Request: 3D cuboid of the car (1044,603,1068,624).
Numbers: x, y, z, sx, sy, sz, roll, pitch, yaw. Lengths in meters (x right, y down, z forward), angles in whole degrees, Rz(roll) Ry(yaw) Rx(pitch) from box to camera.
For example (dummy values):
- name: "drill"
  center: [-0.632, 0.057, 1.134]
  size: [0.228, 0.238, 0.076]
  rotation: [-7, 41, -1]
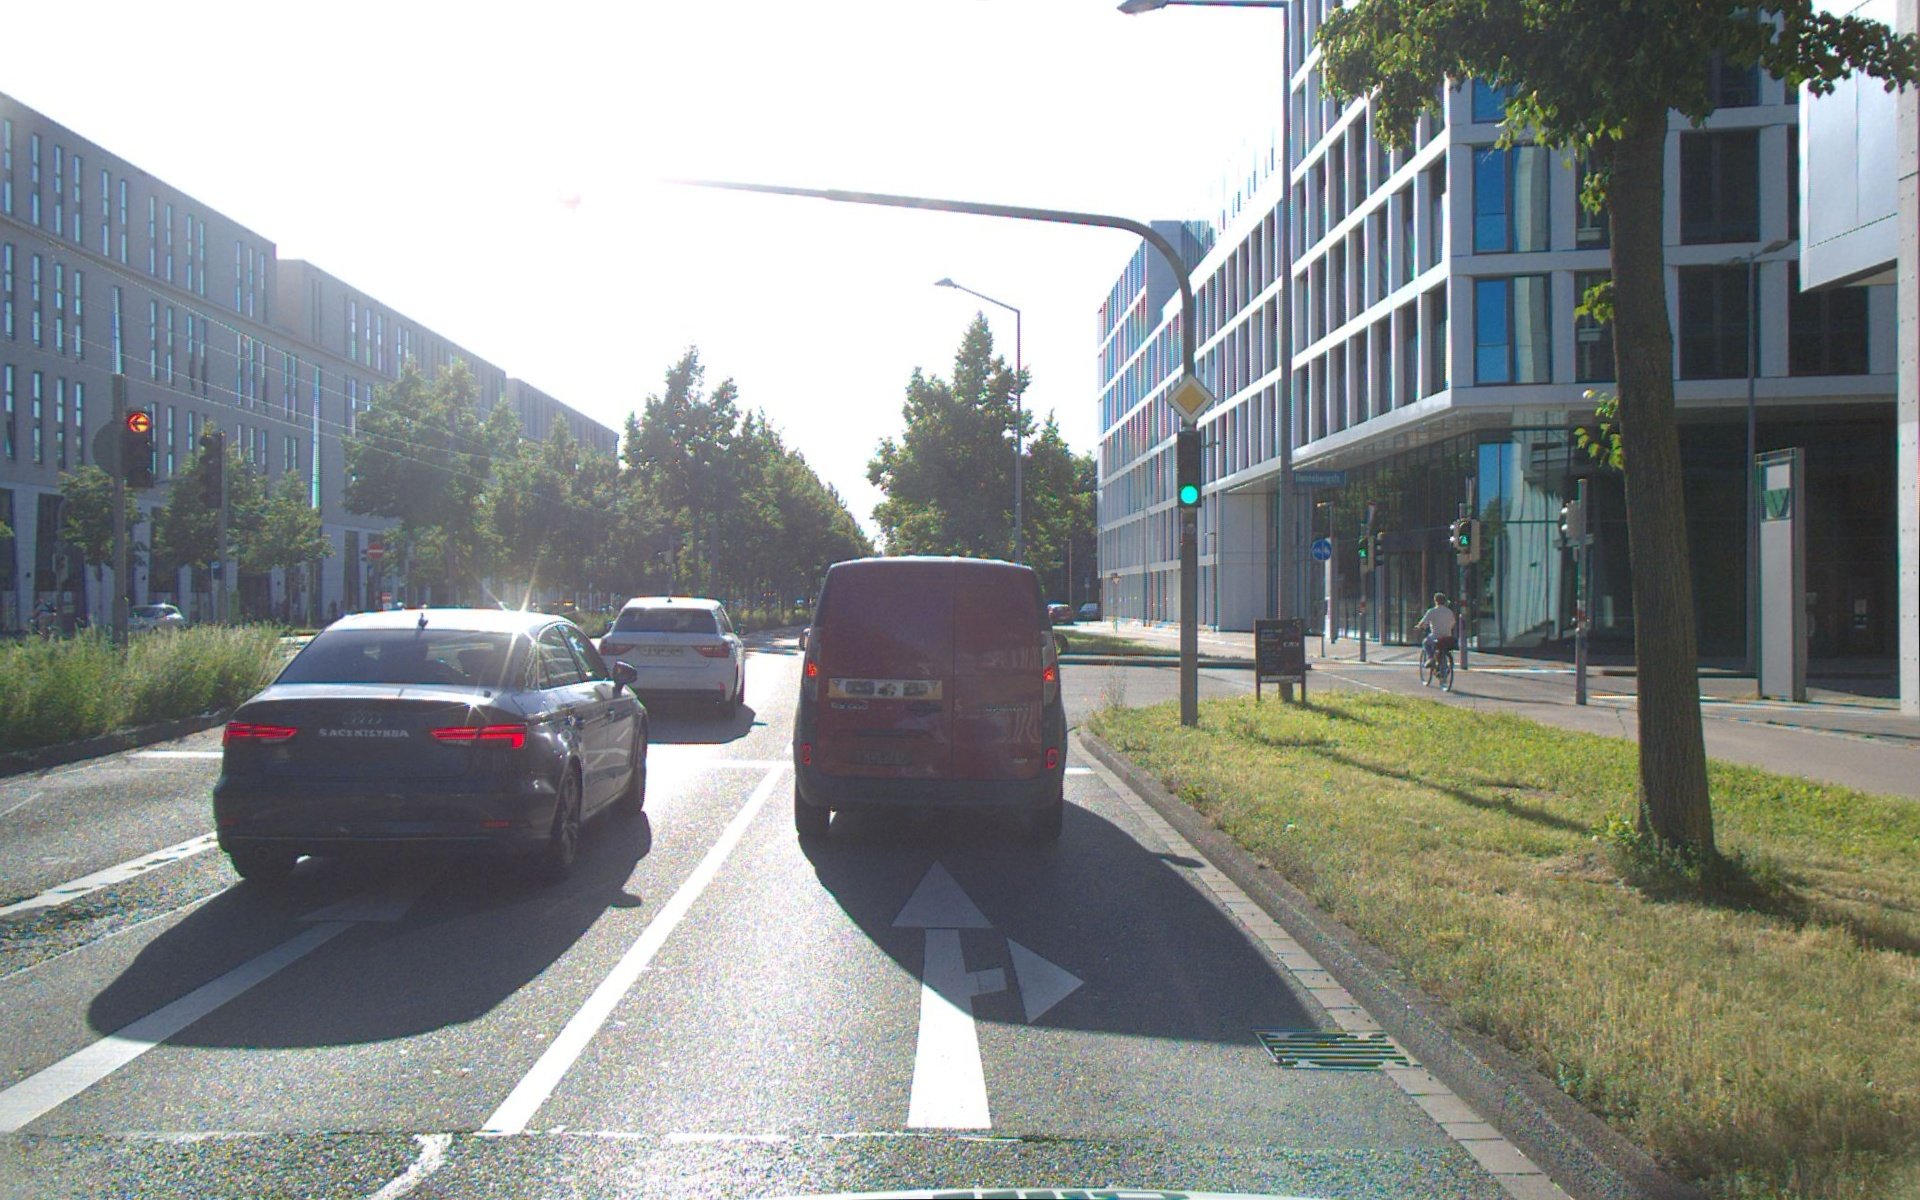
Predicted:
- name: "car"
  center: [7.361, 1.053, 127.599]
  size: [1.781, 1.559, 3.438]
  rotation: [0, 0, 2]

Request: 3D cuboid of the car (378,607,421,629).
- name: "car"
  center: [-35.467, 1.121, 104.745]
  size: [1.548, 1.366, 3.710]
  rotation: [0, 0, -2]

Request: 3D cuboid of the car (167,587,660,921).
- name: "car"
  center: [-2.934, 0.716, 9.835]
  size: [1.772, 1.554, 4.110]
  rotation: [0, 0, -3]

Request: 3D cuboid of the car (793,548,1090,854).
- name: "car"
  center: [-0.128, 0.599, 11.945]
  size: [1.771, 1.826, 4.112]
  rotation: [0, 0, -1]

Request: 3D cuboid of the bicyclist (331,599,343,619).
- name: "bicyclist"
  center: [-40.869, 0.615, 108.562]
  size: [0.567, 1.316, 0.704]
  rotation: [1, -1, -8]

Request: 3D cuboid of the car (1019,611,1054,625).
- name: "car"
  center: [7.419, 1.728, 160.587]
  size: [3.327, 1.382, 1.472]
  rotation: [0, 0, 5]

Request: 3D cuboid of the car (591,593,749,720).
- name: "car"
  center: [-3.616, 0.650, 21.196]
  size: [1.774, 1.460, 4.106]
  rotation: [0, 0, -7]

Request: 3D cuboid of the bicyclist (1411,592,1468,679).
- name: "bicyclist"
  center: [8.776, 0.636, 30.293]
  size: [0.756, 1.558, 0.849]
  rotation: [-1, 0, -2]

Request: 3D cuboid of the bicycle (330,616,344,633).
- name: "bicycle"
  center: [-40.878, 1.591, 108.512]
  size: [0.518, 1.130, 1.635]
  rotation: [1, -1, -8]

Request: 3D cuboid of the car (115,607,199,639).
- name: "car"
  center: [-34.813, 0.979, 71.821]
  size: [1.548, 1.366, 4.470]
  rotation: [0, 0, -2]

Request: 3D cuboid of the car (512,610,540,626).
- name: "car"
  center: [-37.481, 1.539, 142.914]
  size: [1.548, 1.366, 3.710]
  rotation: [0, 0, -2]

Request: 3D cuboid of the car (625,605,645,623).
- name: "car"
  center: [-37.795, 1.657, 192.395]
  size: [1.694, 2.049, 3.997]
  rotation: [0, 0, -4]

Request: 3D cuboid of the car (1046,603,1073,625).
- name: "car"
  center: [7.359, 1.028, 122.395]
  size: [1.722, 1.640, 3.903]
  rotation: [0, 0, 0]

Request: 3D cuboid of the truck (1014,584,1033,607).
- name: "truck"
  center: [7.386, -0.492, 193.354]
  size: [1.795, 2.545, 5.930]
  rotation: [0, -1, -2]

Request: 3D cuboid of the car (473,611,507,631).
- name: "car"
  center: [-36.998, 1.635, 130.207]
  size: [1.740, 1.555, 3.804]
  rotation: [0, 0, -2]

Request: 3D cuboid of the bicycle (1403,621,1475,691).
- name: "bicycle"
  center: [8.792, 1.007, 30.448]
  size: [0.726, 1.194, 1.961]
  rotation: [0, 1, -1]
